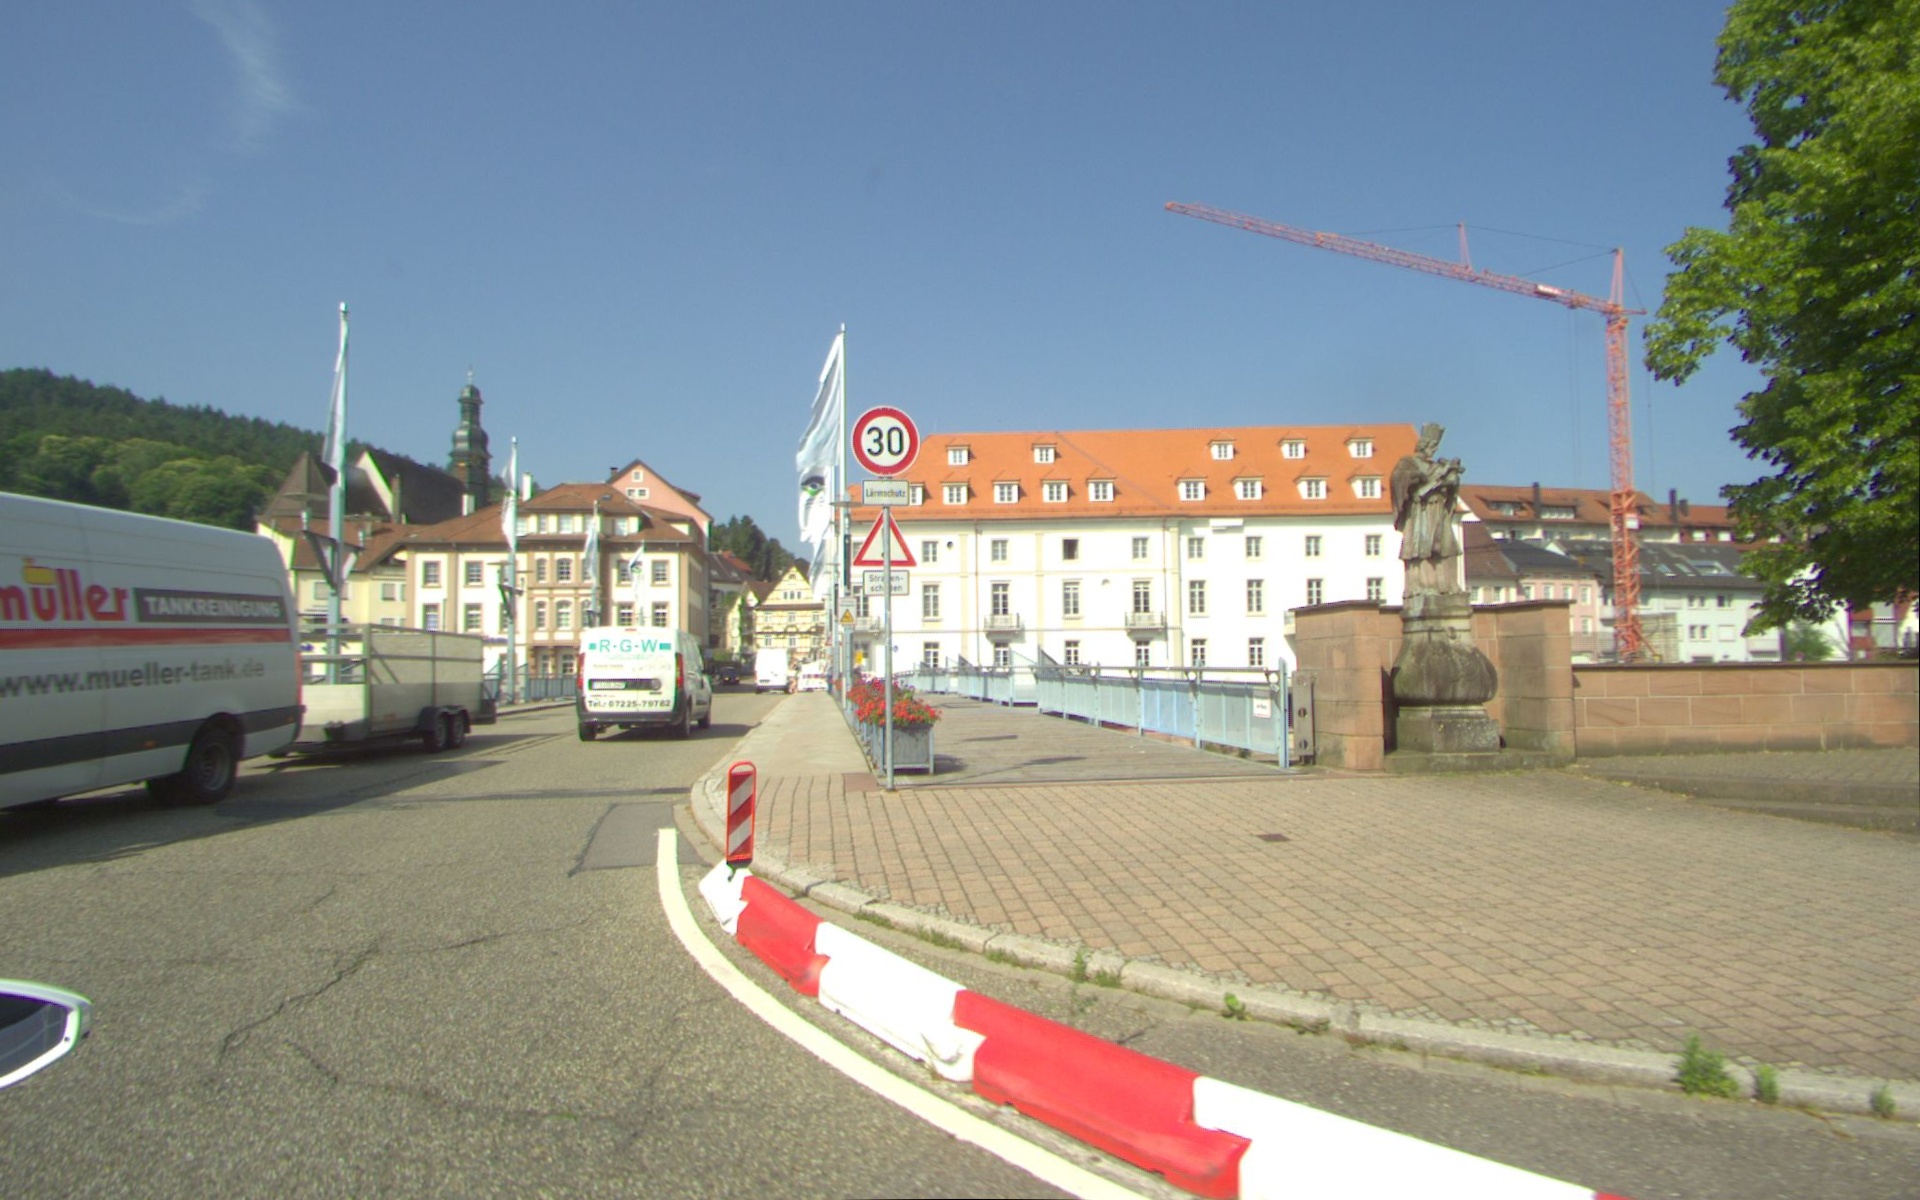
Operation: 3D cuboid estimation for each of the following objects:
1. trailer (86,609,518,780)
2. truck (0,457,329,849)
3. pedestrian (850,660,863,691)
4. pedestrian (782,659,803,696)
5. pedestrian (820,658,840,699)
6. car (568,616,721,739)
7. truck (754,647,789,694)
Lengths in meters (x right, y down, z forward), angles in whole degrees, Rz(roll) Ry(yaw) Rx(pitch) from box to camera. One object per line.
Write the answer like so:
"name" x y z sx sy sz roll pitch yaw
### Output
"trailer" -8.497 1.187 13.895 2.568 1.850 5.641 0 -3 -4
"truck" -7.779 0.401 7.528 2.071 2.733 7.136 0 -2 -5
"pedestrian" -4.230 3.083 40.764 0.445 1.259 0.626 0 -4 -13
"pedestrian" -8.094 3.755 48.498 0.739 1.744 0.722 3 -4 -39
"pedestrian" -5.251 3.151 40.416 0.657 1.638 0.562 1 -3 -20
"car" -5.471 1.400 17.927 1.815 1.928 4.319 1 -5 -7
"truck" -10.973 4.130 58.431 1.832 2.616 4.263 1 -4 -9
